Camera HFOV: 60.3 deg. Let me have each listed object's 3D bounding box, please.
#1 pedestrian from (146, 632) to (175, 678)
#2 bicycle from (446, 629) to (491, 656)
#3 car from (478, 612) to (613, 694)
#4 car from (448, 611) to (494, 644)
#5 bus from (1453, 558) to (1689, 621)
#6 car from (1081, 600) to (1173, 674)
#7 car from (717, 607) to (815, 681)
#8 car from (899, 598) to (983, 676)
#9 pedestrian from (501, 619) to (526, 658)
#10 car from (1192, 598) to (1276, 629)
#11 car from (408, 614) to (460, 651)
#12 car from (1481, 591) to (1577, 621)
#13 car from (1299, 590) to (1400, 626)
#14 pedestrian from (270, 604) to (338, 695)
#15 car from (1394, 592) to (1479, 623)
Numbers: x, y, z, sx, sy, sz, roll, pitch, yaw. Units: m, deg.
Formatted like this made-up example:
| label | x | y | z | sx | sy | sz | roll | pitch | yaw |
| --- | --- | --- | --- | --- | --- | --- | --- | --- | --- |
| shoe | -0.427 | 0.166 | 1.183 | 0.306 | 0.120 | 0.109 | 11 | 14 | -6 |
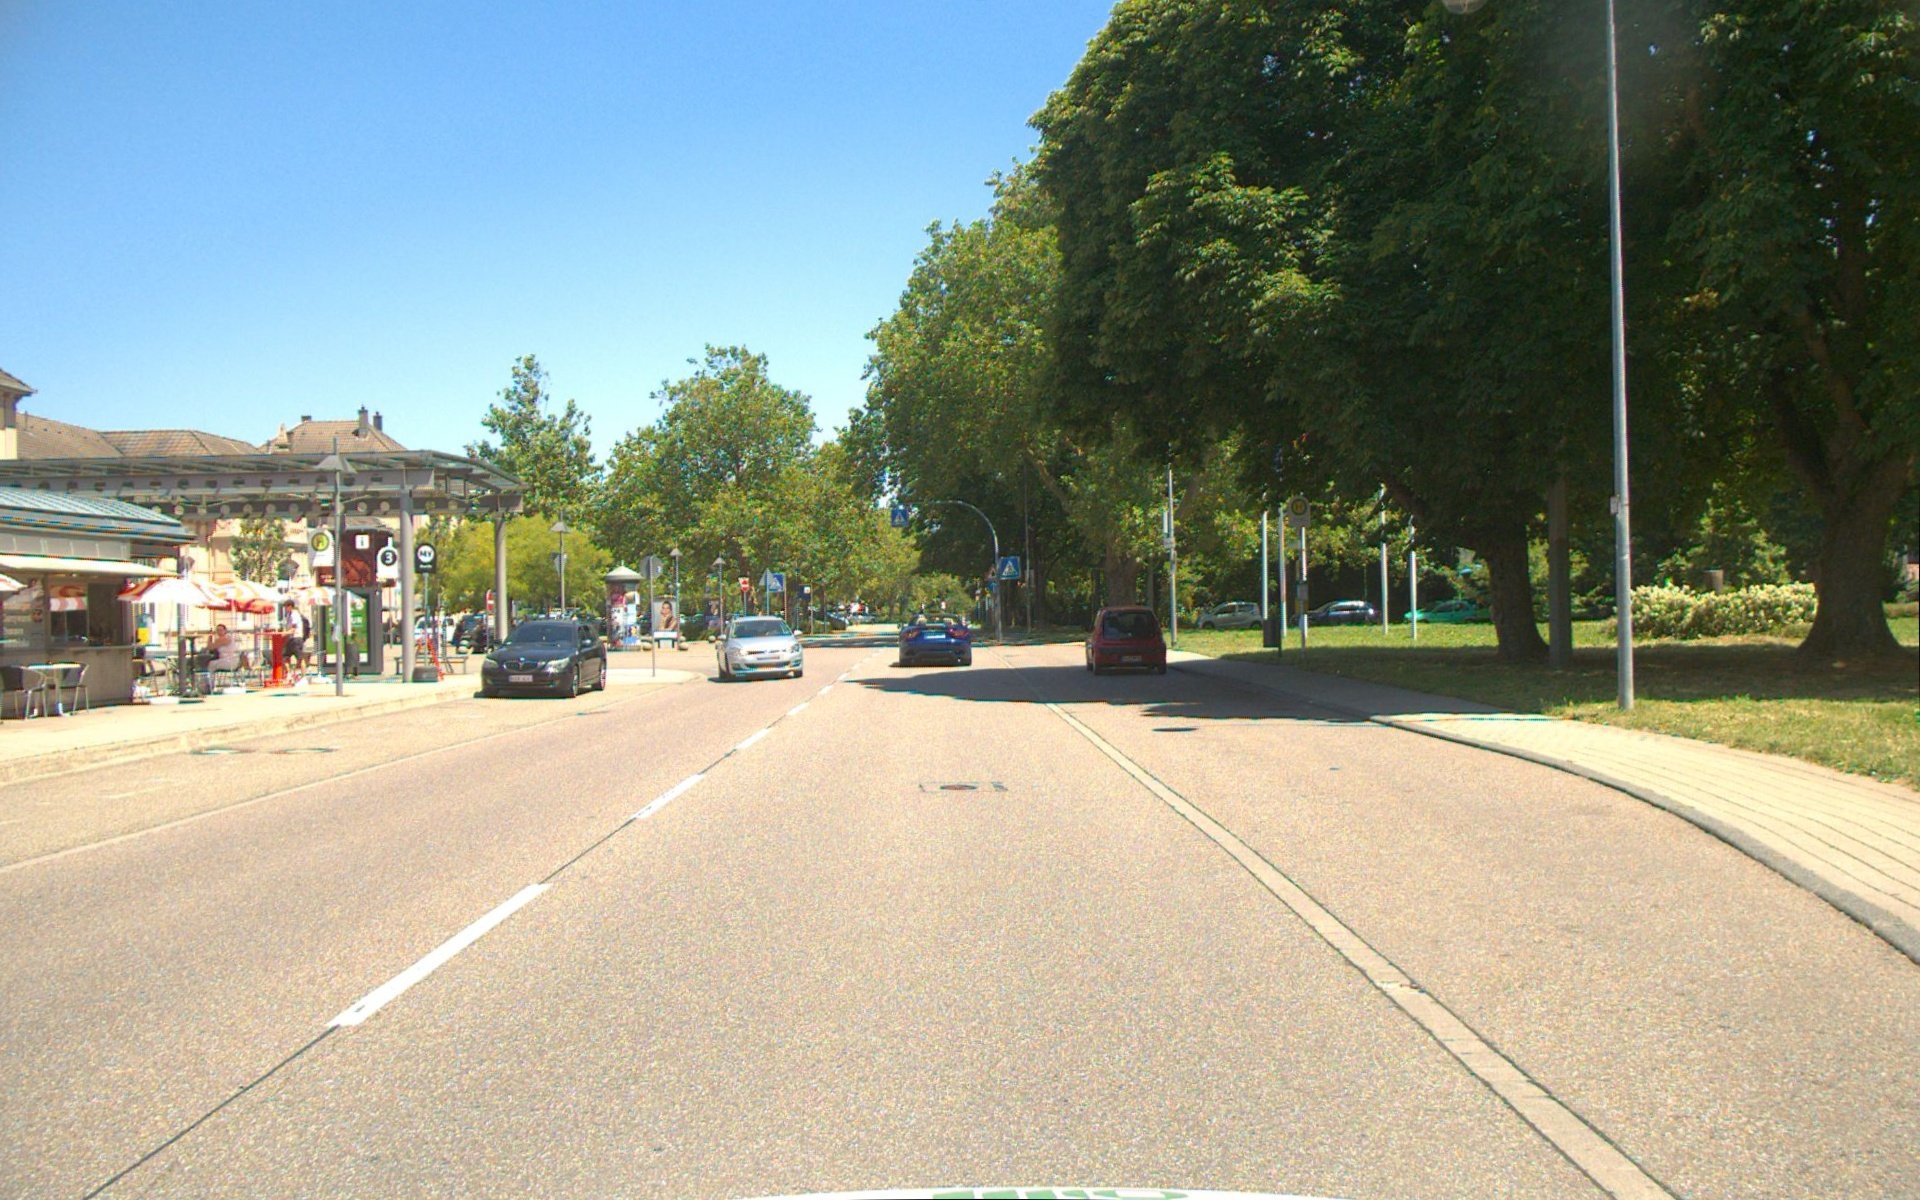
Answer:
| label | x | y | z | sx | sy | sz | roll | pitch | yaw |
| --- | --- | --- | --- | --- | --- | --- | --- | --- | --- |
| pedestrian | -17.456 | 1.208 | 36.120 | 0.415 | 0.989 | 0.372 | -2 | -2 | 12 |
| bicycle | -20.628 | 1.775 | 69.411 | 1.770 | 1.049 | 0.485 | -1 | -1 | -25 |
| car | -8.385 | 1.028 | 33.856 | 1.684 | 1.504 | 4.783 | -2 | 0 | -2 |
| car | -31.709 | 1.787 | 107.365 | 1.954 | 2.049 | 3.998 | -2 | 0 | -3 |
| bus | 33.541 | -0.574 | 90.934 | 12.129 | 3.030 | 2.267 | -2 | -1 | -2 |
| car | 3.656 | 0.793 | 36.749 | 1.683 | 1.504 | 3.706 | -2 | 0 | 1 |
| car | -4.502 | 0.984 | 38.895 | 1.778 | 1.469 | 4.158 | -4 | 0 | -1 |
| car | -0.547 | 0.943 | 43.160 | 2.082 | 1.881 | 4.046 | -1 | -1 | -2 |
| pedestrian | -19.539 | 1.684 | 72.357 | 0.744 | 1.688 | 0.721 | -2 | -2 | 16 |
| car | 14.075 | 0.699 | 85.038 | 4.020 | 1.492 | 2.000 | -2 | 0 | 2 |
| car | -31.857 | 1.943 | 100.290 | 1.716 | 1.950 | 4.775 | -2 | 1 | -1 |
| car | 29.218 | 0.298 | 84.983 | 4.248 | 1.441 | 2.000 | -1 | -2 | -1 |
| car | 19.912 | 0.414 | 84.689 | 4.723 | 1.635 | 2.001 | -2 | 0 | 3 |
| pedestrian | -13.759 | 1.042 | 34.723 | 0.782 | 1.860 | 1.143 | -2 | -2 | 16 |
| car | 24.439 | 0.388 | 84.901 | 3.801 | 1.479 | 2.000 | -1 | -2 | 0 |
